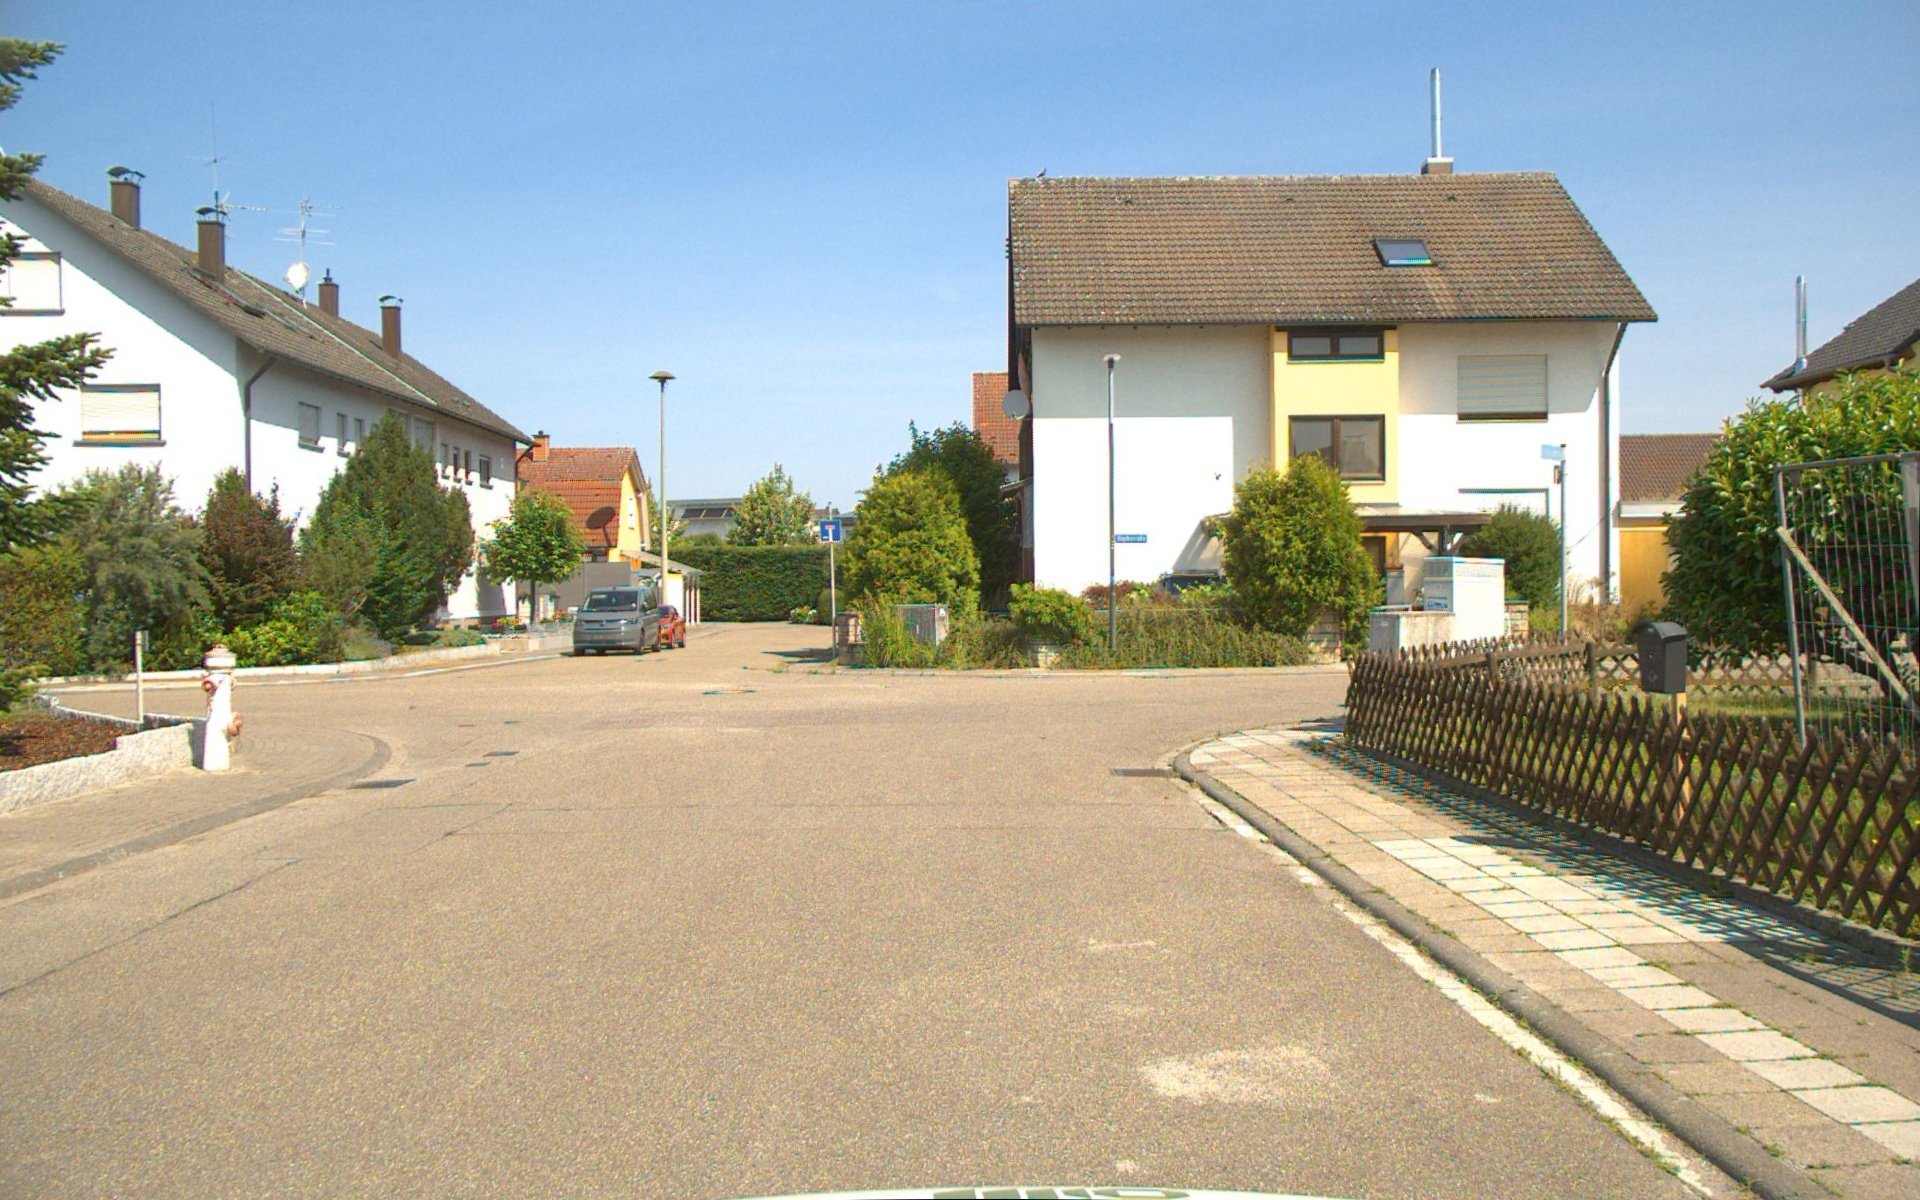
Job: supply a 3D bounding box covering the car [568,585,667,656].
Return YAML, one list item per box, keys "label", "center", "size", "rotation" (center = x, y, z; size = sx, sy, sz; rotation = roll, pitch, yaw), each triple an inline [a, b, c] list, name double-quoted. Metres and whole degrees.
- label: "car"
  center: [-9.739, 0.542, 47.385]
  size: [1.862, 1.902, 4.371]
  rotation: [-1, 0, 0]

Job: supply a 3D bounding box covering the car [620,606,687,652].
- label: "car"
  center: [-10.014, 0.928, 54.254]
  size: [1.619, 1.388, 3.777]
  rotation: [-1, 0, -2]
